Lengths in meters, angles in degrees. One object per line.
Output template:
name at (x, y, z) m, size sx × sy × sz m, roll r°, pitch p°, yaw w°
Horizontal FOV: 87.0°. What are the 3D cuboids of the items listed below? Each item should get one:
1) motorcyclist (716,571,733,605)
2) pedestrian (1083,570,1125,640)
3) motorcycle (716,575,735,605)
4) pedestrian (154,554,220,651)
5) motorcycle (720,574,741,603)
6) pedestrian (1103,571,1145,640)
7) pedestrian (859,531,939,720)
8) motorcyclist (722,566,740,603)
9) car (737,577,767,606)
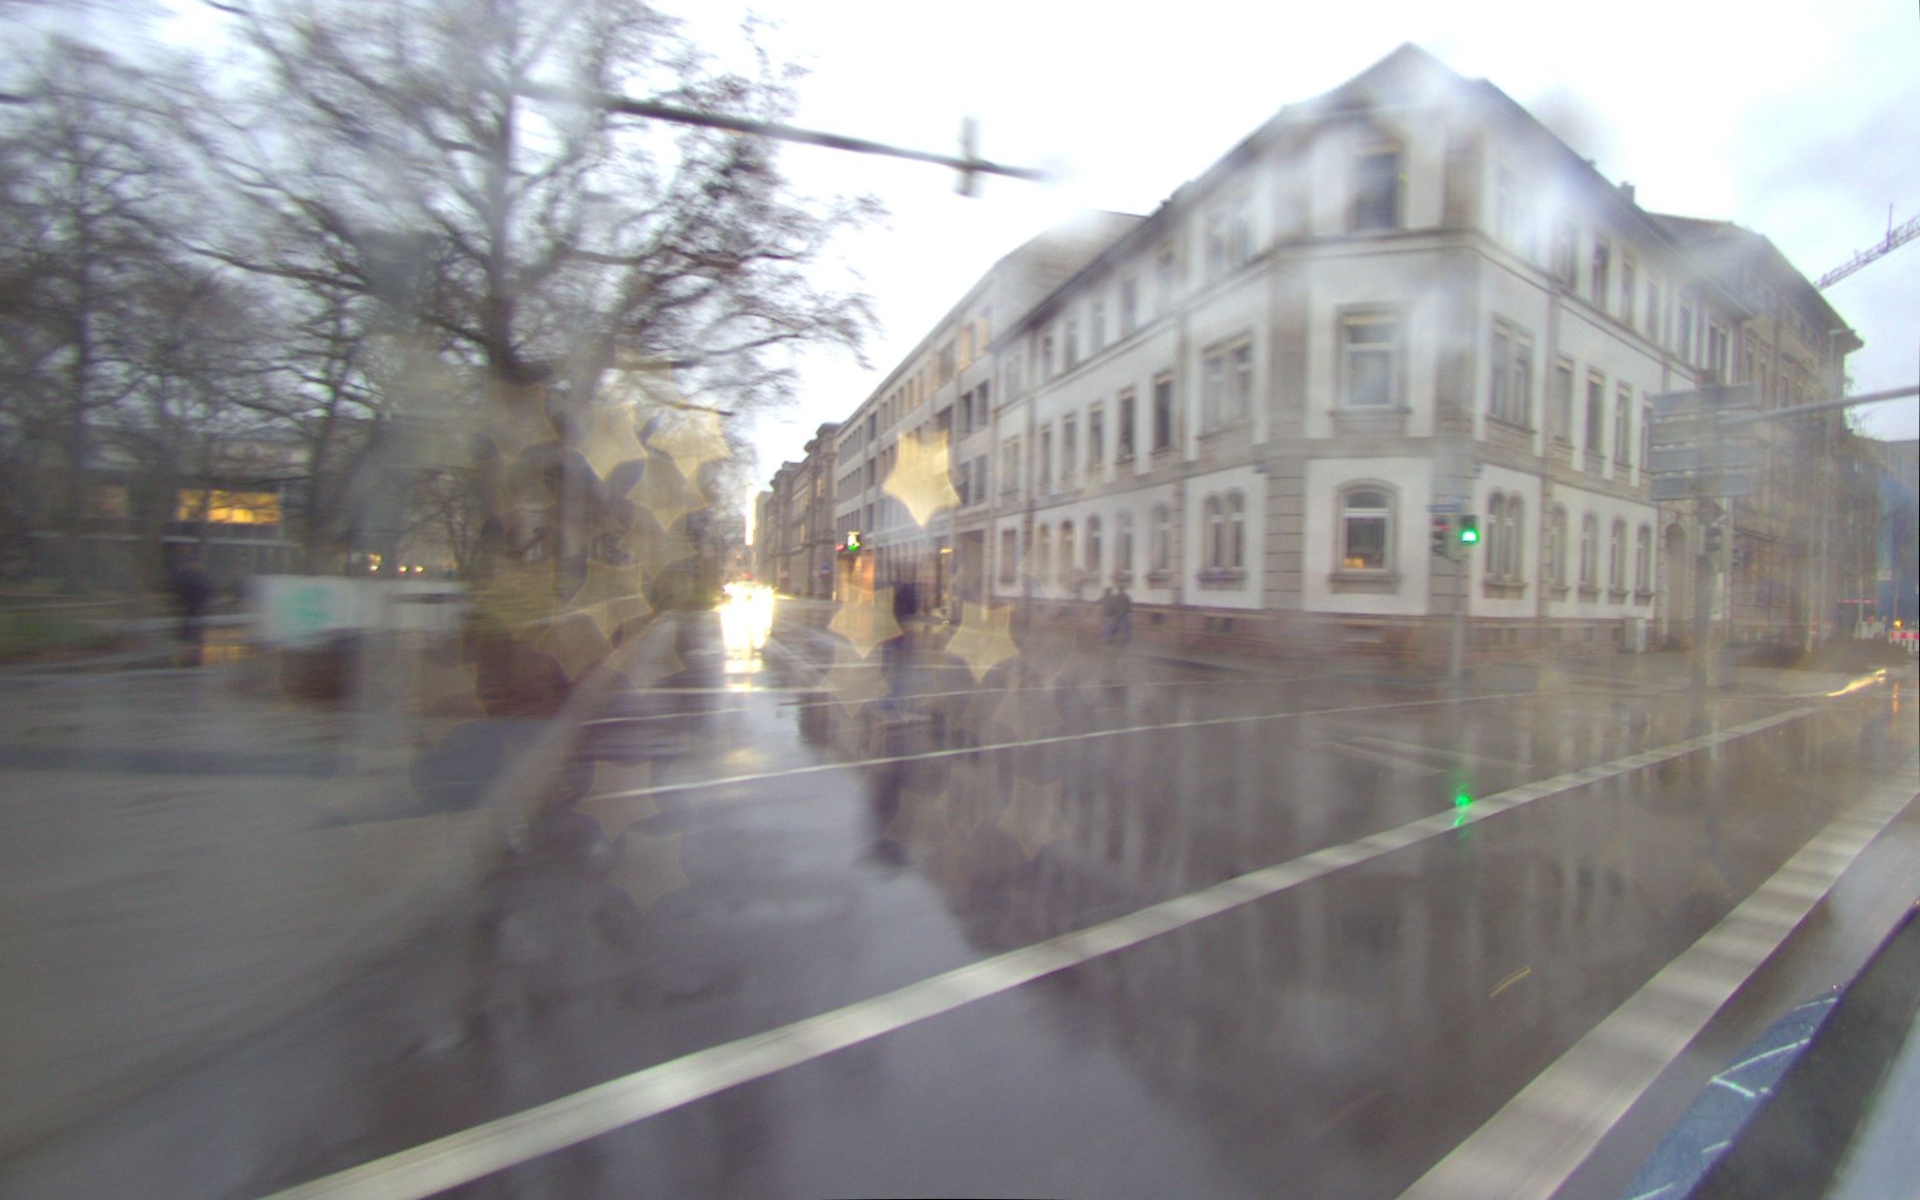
motorcyclist at (-15.108, -0.766, 64.959) m, size 0.928 × 2.195 × 1.198 m, roll 1°, pitch 0°, yaw -17°
pedestrian at (4.203, 0.139, 29.532) m, size 0.849 × 2.006 × 0.980 m, roll 1°, pitch -1°, yaw -18°
motorcycle at (-15.112, -0.603, 65.028) m, size 0.928 × 1.868 × 3.532 m, roll 1°, pitch 0°, yaw -17°
pedestrian at (-13.547, 0.042, 17.751) m, size 0.835 × 1.661 × 0.726 m, roll 1°, pitch -1°, yaw -33°
motorcycle at (-12.882, -0.607, 56.912) m, size 0.929 × 1.579 × 3.531 m, roll 0°, pitch 0°, yaw -9°
pedestrian at (4.897, 0.168, 30.256) m, size 0.849 × 2.006 × 0.980 m, roll 1°, pitch -1°, yaw -18°
pedestrian at (-0.652, 0.256, 10.627) m, size 0.661 × 1.903 × 0.716 m, roll 1°, pitch -1°, yaw -19°
motorcyclist at (-12.898, -0.855, 56.989) m, size 0.929 × 2.080 × 1.032 m, roll 0°, pitch 0°, yaw -9°
car at (-15.200, -0.620, 73.774) m, size 1.958 × 2.039 × 4.008 m, roll 0°, pitch 0°, yaw -13°
